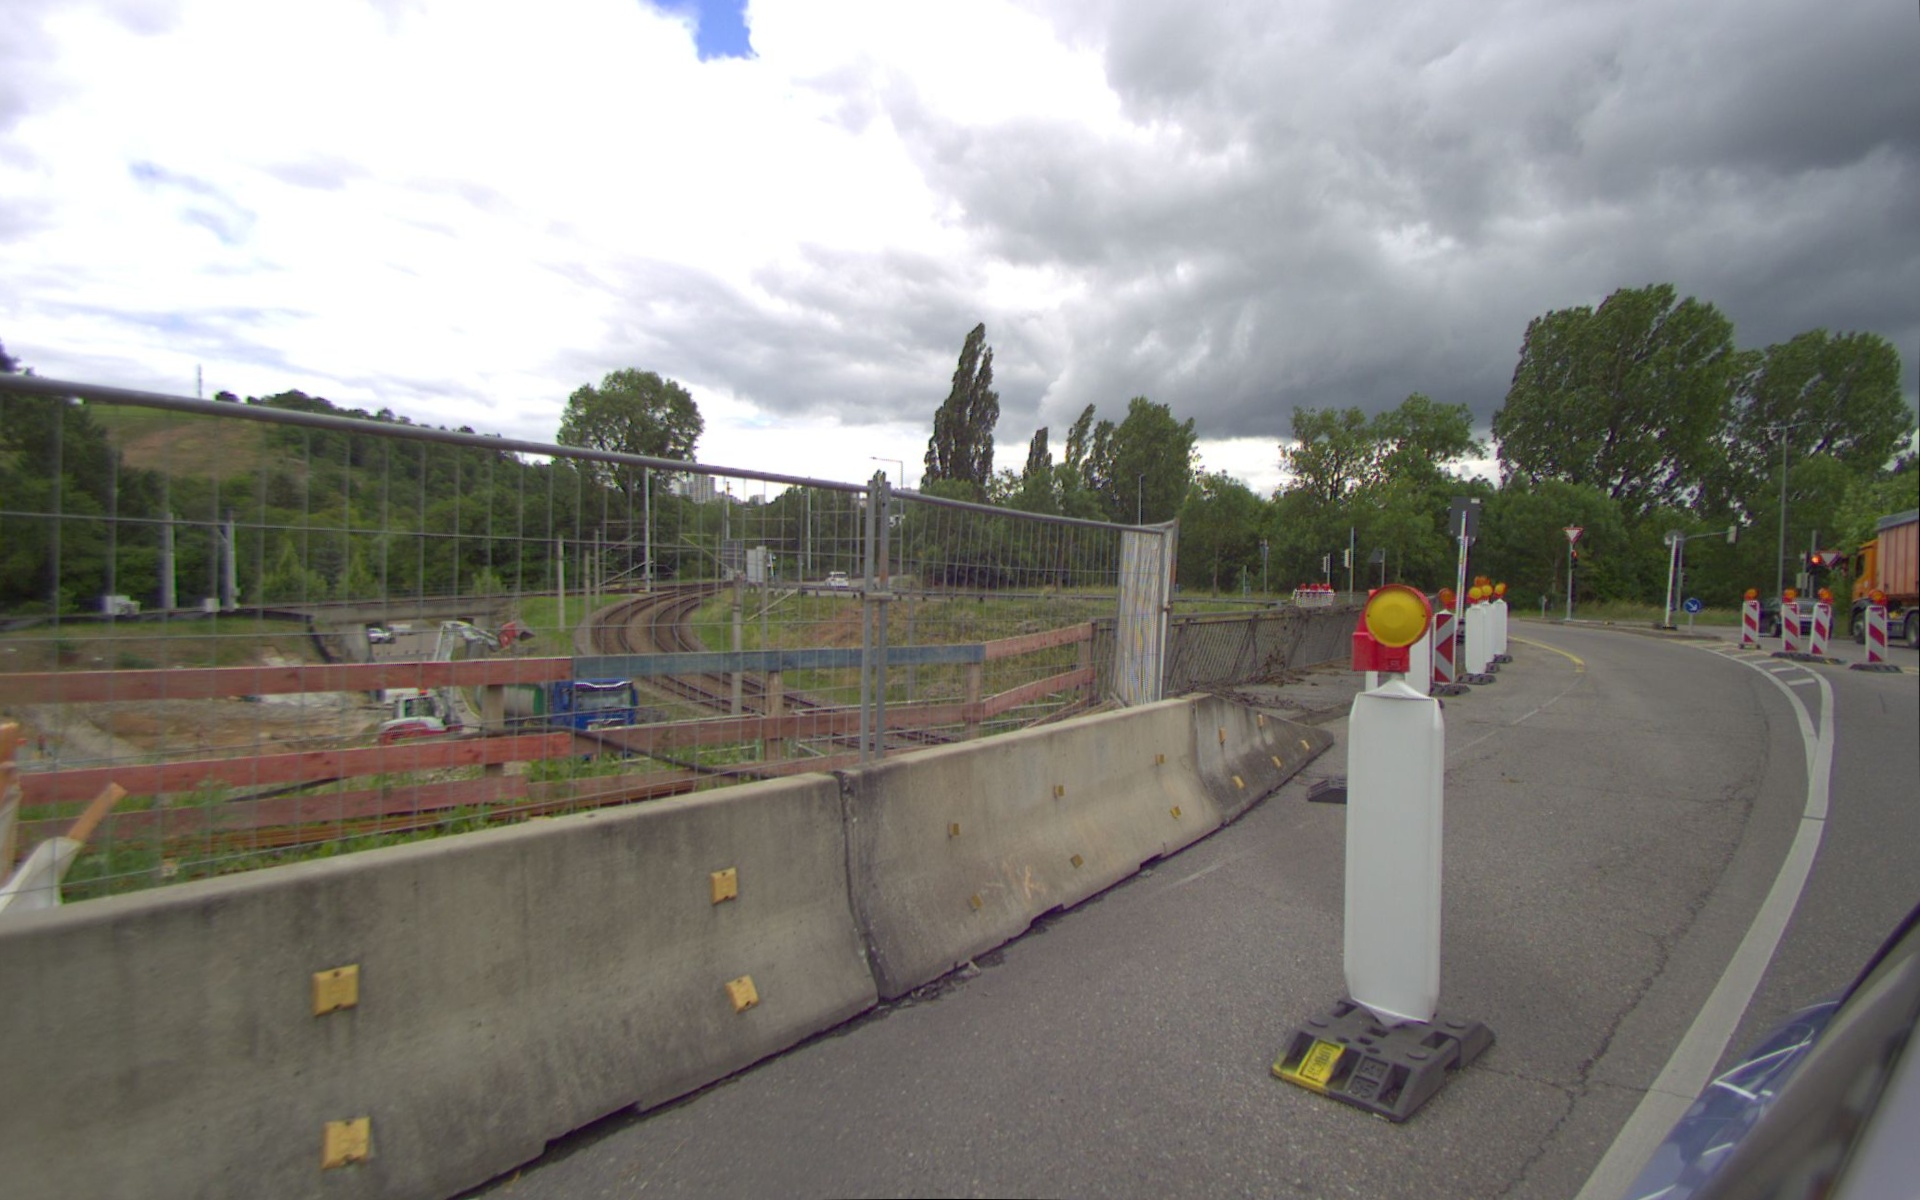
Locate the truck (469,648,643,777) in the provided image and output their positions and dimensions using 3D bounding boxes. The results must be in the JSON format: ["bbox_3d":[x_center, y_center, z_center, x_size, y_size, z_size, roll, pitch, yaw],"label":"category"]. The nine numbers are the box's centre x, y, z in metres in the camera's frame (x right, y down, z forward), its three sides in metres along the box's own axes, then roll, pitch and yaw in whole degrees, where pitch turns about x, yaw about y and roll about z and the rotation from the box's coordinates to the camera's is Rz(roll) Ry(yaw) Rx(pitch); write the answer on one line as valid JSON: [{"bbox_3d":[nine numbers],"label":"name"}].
[{"bbox_3d":[-16.914,4.300,41.669,2.798,3.942,11.597,-1,1,-42],"label":"truck"}]

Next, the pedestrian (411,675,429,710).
[{"bbox_3d":[-32.837,5.629,61.546,0.811,2.040,0.681,1,-3,-44],"label":"pedestrian"}]

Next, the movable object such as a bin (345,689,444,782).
[{"bbox_3d":[-21.275,5.012,38.292,2.984,2.784,4.294,0,0,-25],"label":"movable object such as a bin"}]

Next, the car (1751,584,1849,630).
[{"bbox_3d":[32.284,0.253,39.022,1.623,1.571,3.764,4,1,19],"label":"car"}]

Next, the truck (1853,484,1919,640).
[{"bbox_3d":[28.128,-1.013,27.888,3.093,4.273,9.694,1,1,29],"label":"truck"}]

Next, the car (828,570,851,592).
[{"bbox_3d":[-11.215,-1.757,94.016,2.041,1.782,4.326,2,-2,-7],"label":"car"}]
